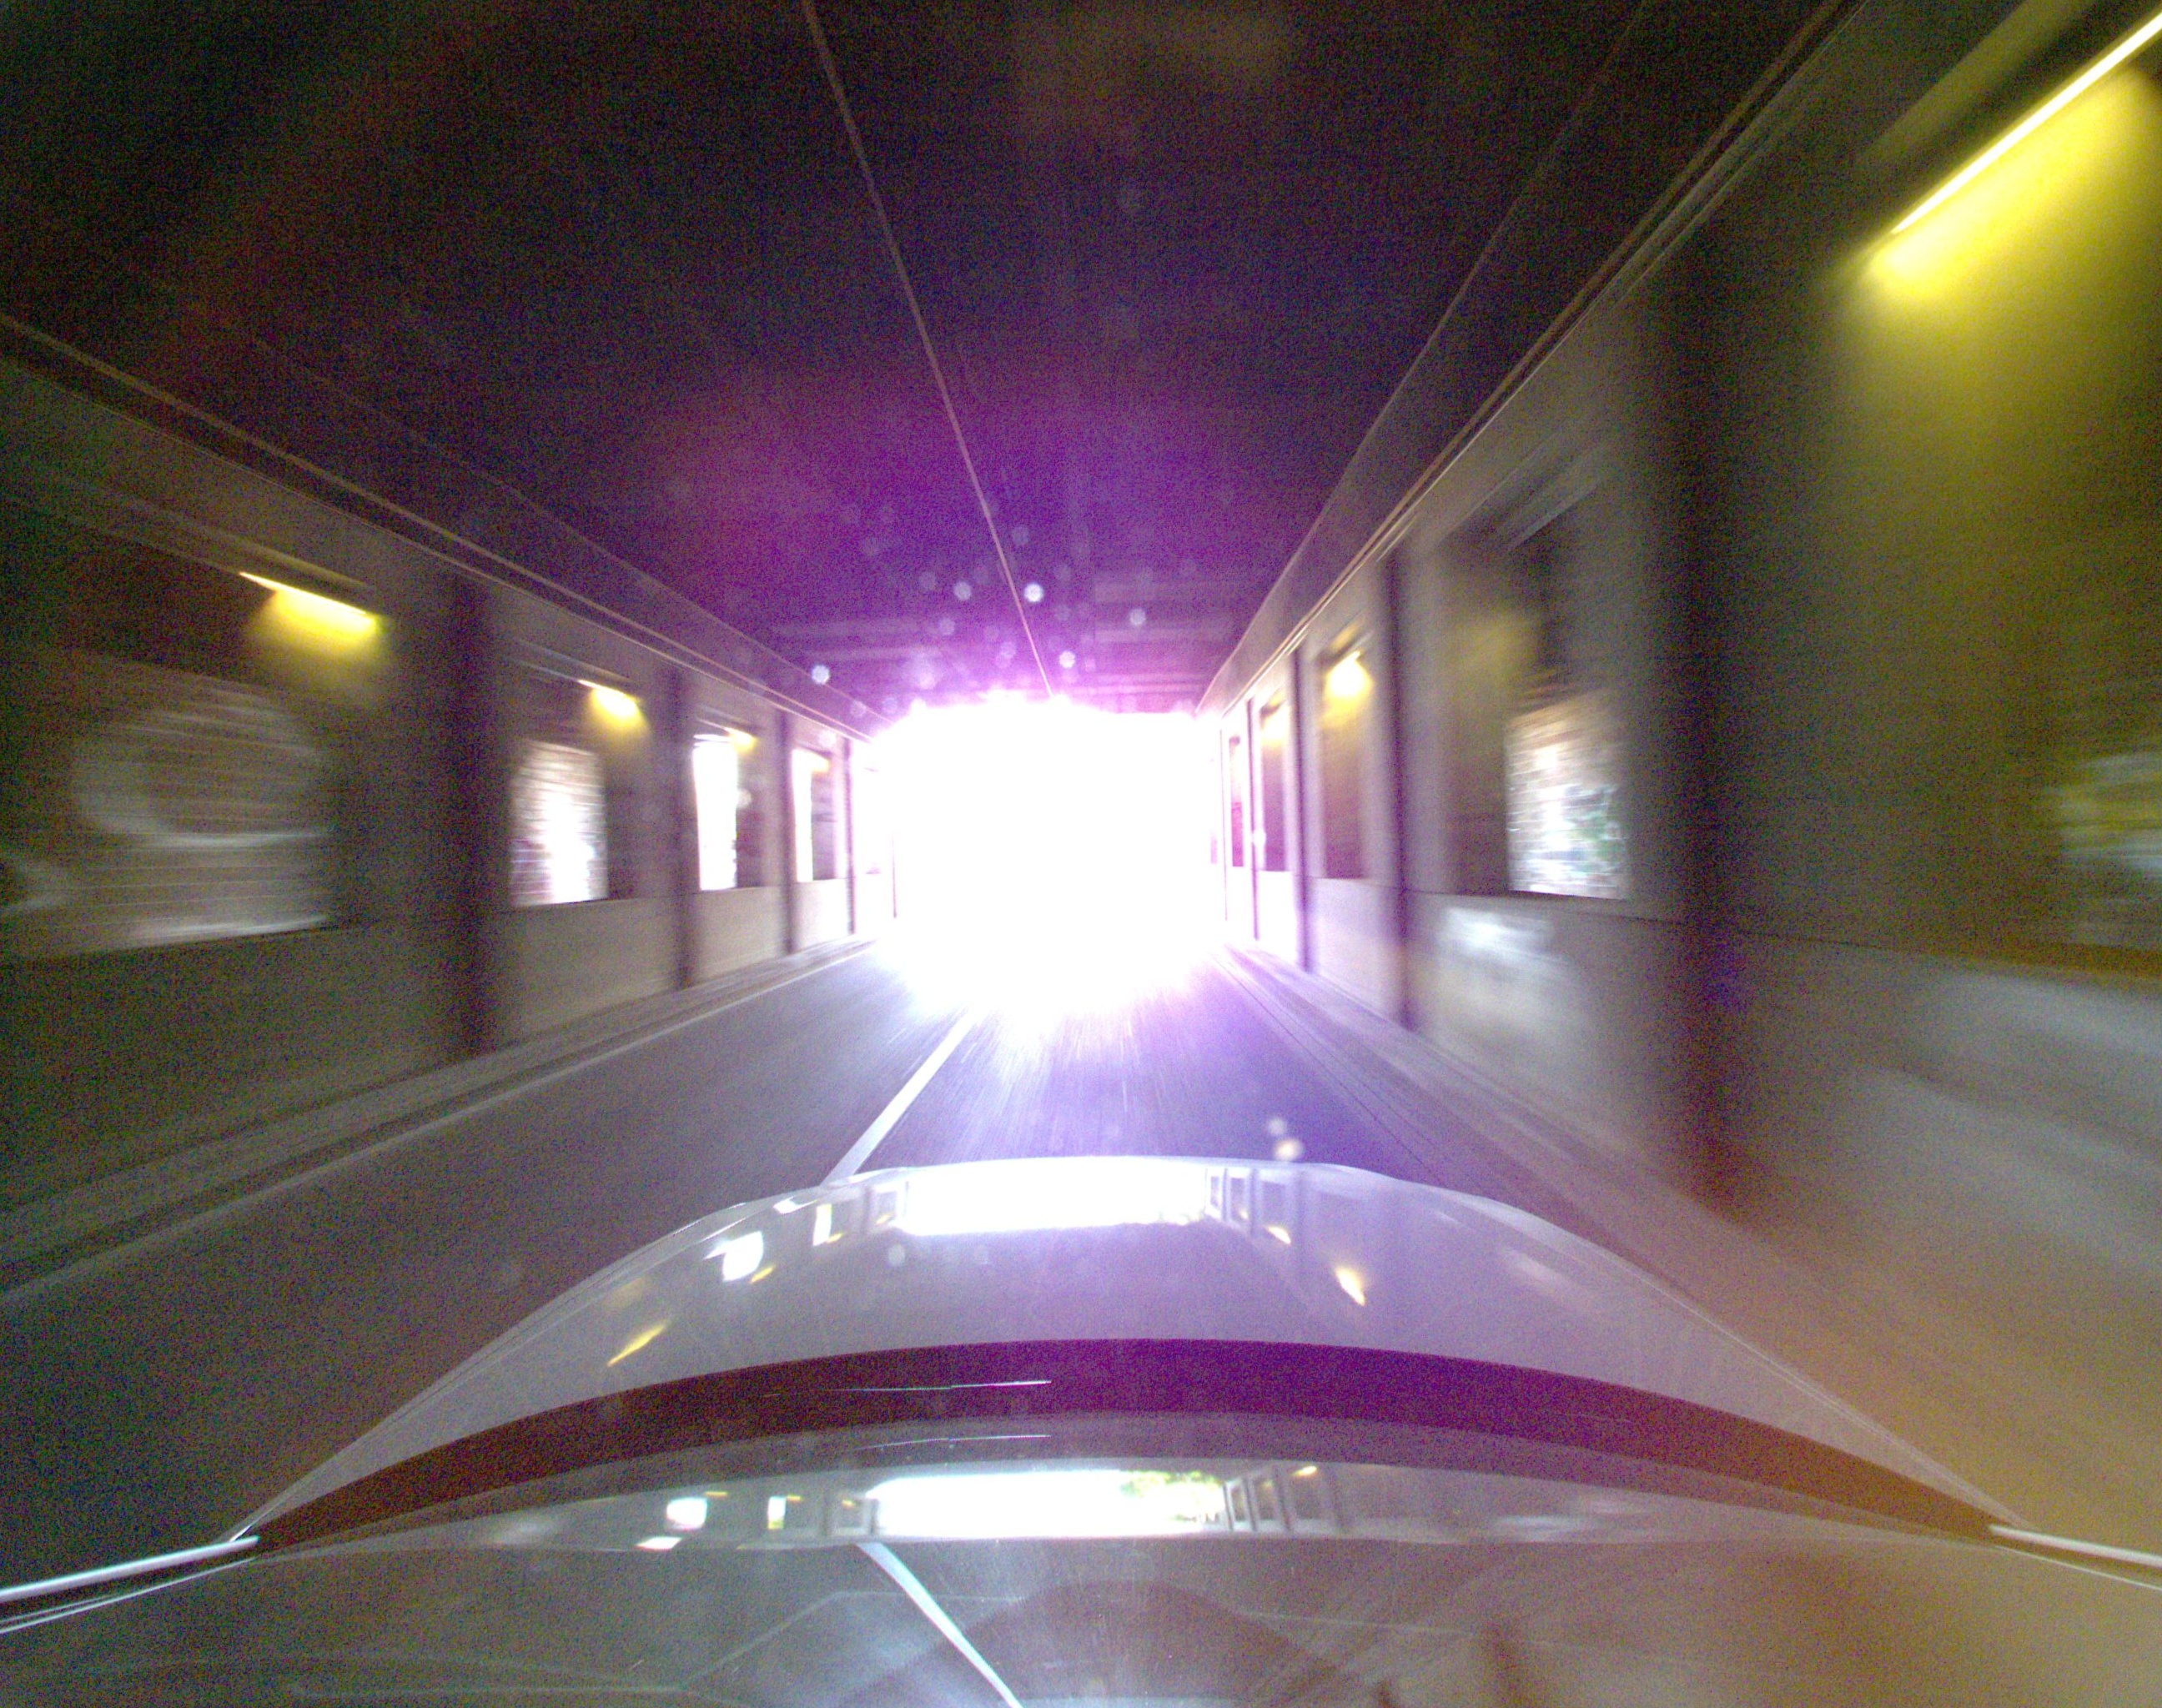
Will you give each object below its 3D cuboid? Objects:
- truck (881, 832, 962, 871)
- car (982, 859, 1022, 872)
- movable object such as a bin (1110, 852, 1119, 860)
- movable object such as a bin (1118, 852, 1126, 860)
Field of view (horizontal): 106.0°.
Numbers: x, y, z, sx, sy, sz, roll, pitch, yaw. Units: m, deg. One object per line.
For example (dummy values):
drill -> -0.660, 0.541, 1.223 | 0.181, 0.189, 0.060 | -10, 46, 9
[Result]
truck -> -17.577, -0.236, 89.463 | 9.214, 3.883, 2.728 | -2, -2, 31
car -> -8.985, 1.324, 92.940 | 4.171, 1.490, 1.888 | -1, -1, 28
movable object such as a bin -> 5.916, 0.431, 144.496 | 1.363, 1.418, 1.063 | 0, -1, -6
movable object such as a bin -> 7.328, 0.429, 144.678 | 1.363, 1.418, 1.063 | 0, -1, -6
